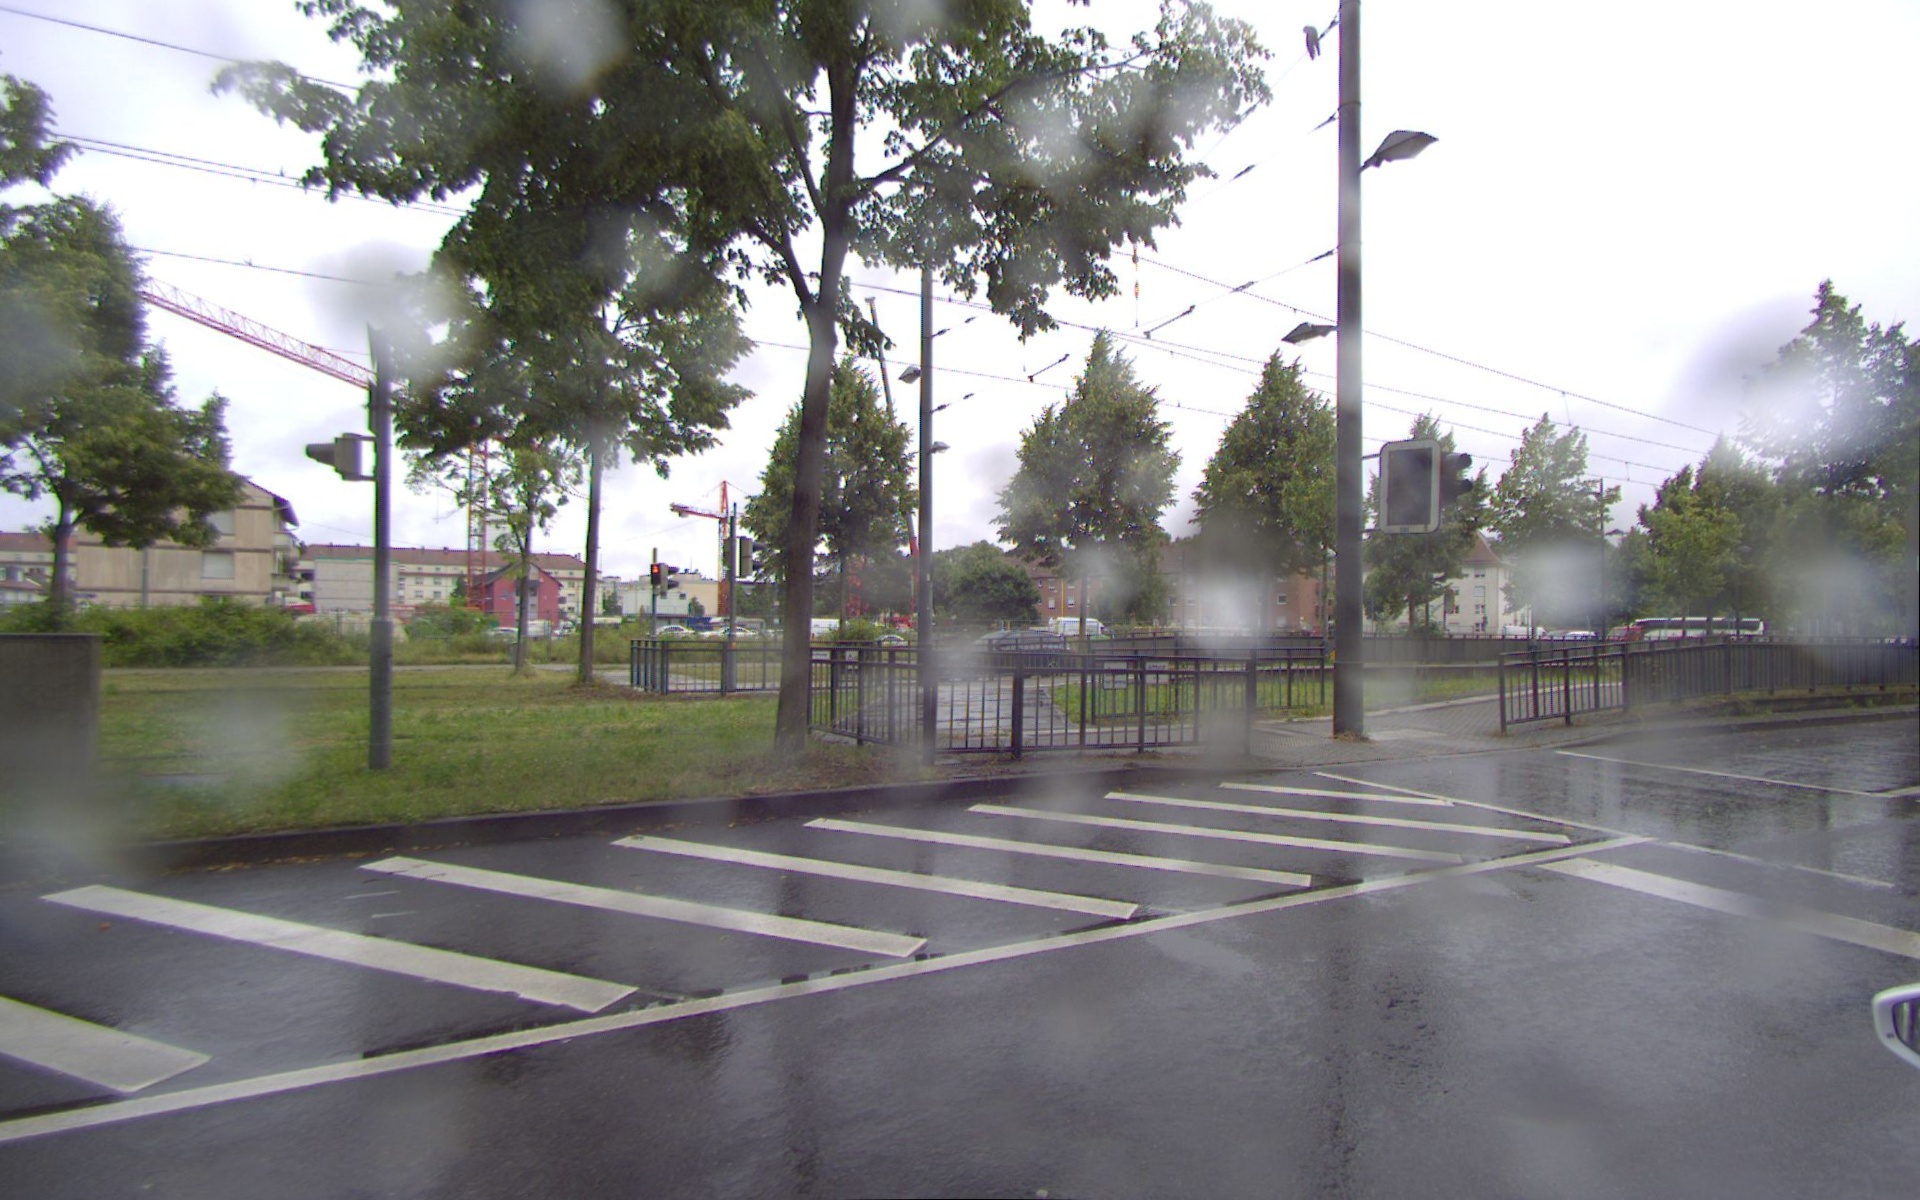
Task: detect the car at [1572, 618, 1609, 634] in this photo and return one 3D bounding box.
[{"bbox_3d":[73.025,3.028,116.406,3.487,1.762,1.699,-2,-1,38],"label":"car"}]

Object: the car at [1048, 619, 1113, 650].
[{"bbox_3d":[10.235,2.909,85.297,5.434,2.357,1.829,-1,0,-30],"label":"car"}]

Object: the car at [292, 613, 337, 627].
[{"bbox_3d":[-61.045,1.873,95.005,1.462,1.228,3.250,-2,-1,42],"label":"car"}]

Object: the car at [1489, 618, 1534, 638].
[{"bbox_3d":[60.135,3.034,109.547,4.144,2.040,1.995,1,-1,-14],"label":"car"}]

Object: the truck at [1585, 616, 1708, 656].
[{"bbox_3d":[84.950,4.497,124.613,12.286,4.654,3.391,-2,-1,35],"label":"truck"}]

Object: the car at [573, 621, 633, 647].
[{"bbox_3d":[-27.697,2.639,77.950,3.967,1.840,1.809,-1,-1,-40],"label":"car"}]

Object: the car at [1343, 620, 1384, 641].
[{"bbox_3d":[43.037,3.249,107.129,3.952,2.040,1.985,-1,0,-30],"label":"car"}]

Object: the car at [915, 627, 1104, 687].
[{"bbox_3d":[1.512,1.638,29.501,5.440,1.628,1.940,1,-2,-32],"label":"car"}]

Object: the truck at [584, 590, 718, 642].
[{"bbox_3d":[-34.784,1.757,113.644,6.109,5.468,13.247,-2,-1,40],"label":"truck"}]

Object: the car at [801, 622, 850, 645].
[{"bbox_3d":[-11.915,2.935,89.035,3.967,1.840,1.809,-1,-1,-40],"label":"car"}]

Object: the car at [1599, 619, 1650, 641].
[{"bbox_3d":[63.424,2.879,95.901,3.932,2.040,1.995,1,-1,-14],"label":"car"}]

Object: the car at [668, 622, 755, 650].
[{"bbox_3d":[-18.444,2.650,74.760,5.936,1.840,2.075,-1,-1,-31],"label":"car"}]

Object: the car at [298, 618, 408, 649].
[{"bbox_3d":[-37.663,2.055,62.487,5.711,1.694,2.036,-1,-1,-32],"label":"car"}]

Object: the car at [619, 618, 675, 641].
[{"bbox_3d":[-23.476,2.222,75.372,3.767,1.539,1.733,-1,0,-30],"label":"car"}]

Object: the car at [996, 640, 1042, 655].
[{"bbox_3d":[5.281,4.234,89.746,3.767,1.171,1.733,-1,-1,-30],"label":"car"}]

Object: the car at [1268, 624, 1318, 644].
[{"bbox_3d":[37.723,3.778,113.758,5.293,2.040,2.082,-2,0,-22],"label":"car"}]

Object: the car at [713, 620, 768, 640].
[{"bbox_3d":[-23.952,3.268,109.566,5.459,2.040,1.981,-1,-1,-34],"label":"car"}]
